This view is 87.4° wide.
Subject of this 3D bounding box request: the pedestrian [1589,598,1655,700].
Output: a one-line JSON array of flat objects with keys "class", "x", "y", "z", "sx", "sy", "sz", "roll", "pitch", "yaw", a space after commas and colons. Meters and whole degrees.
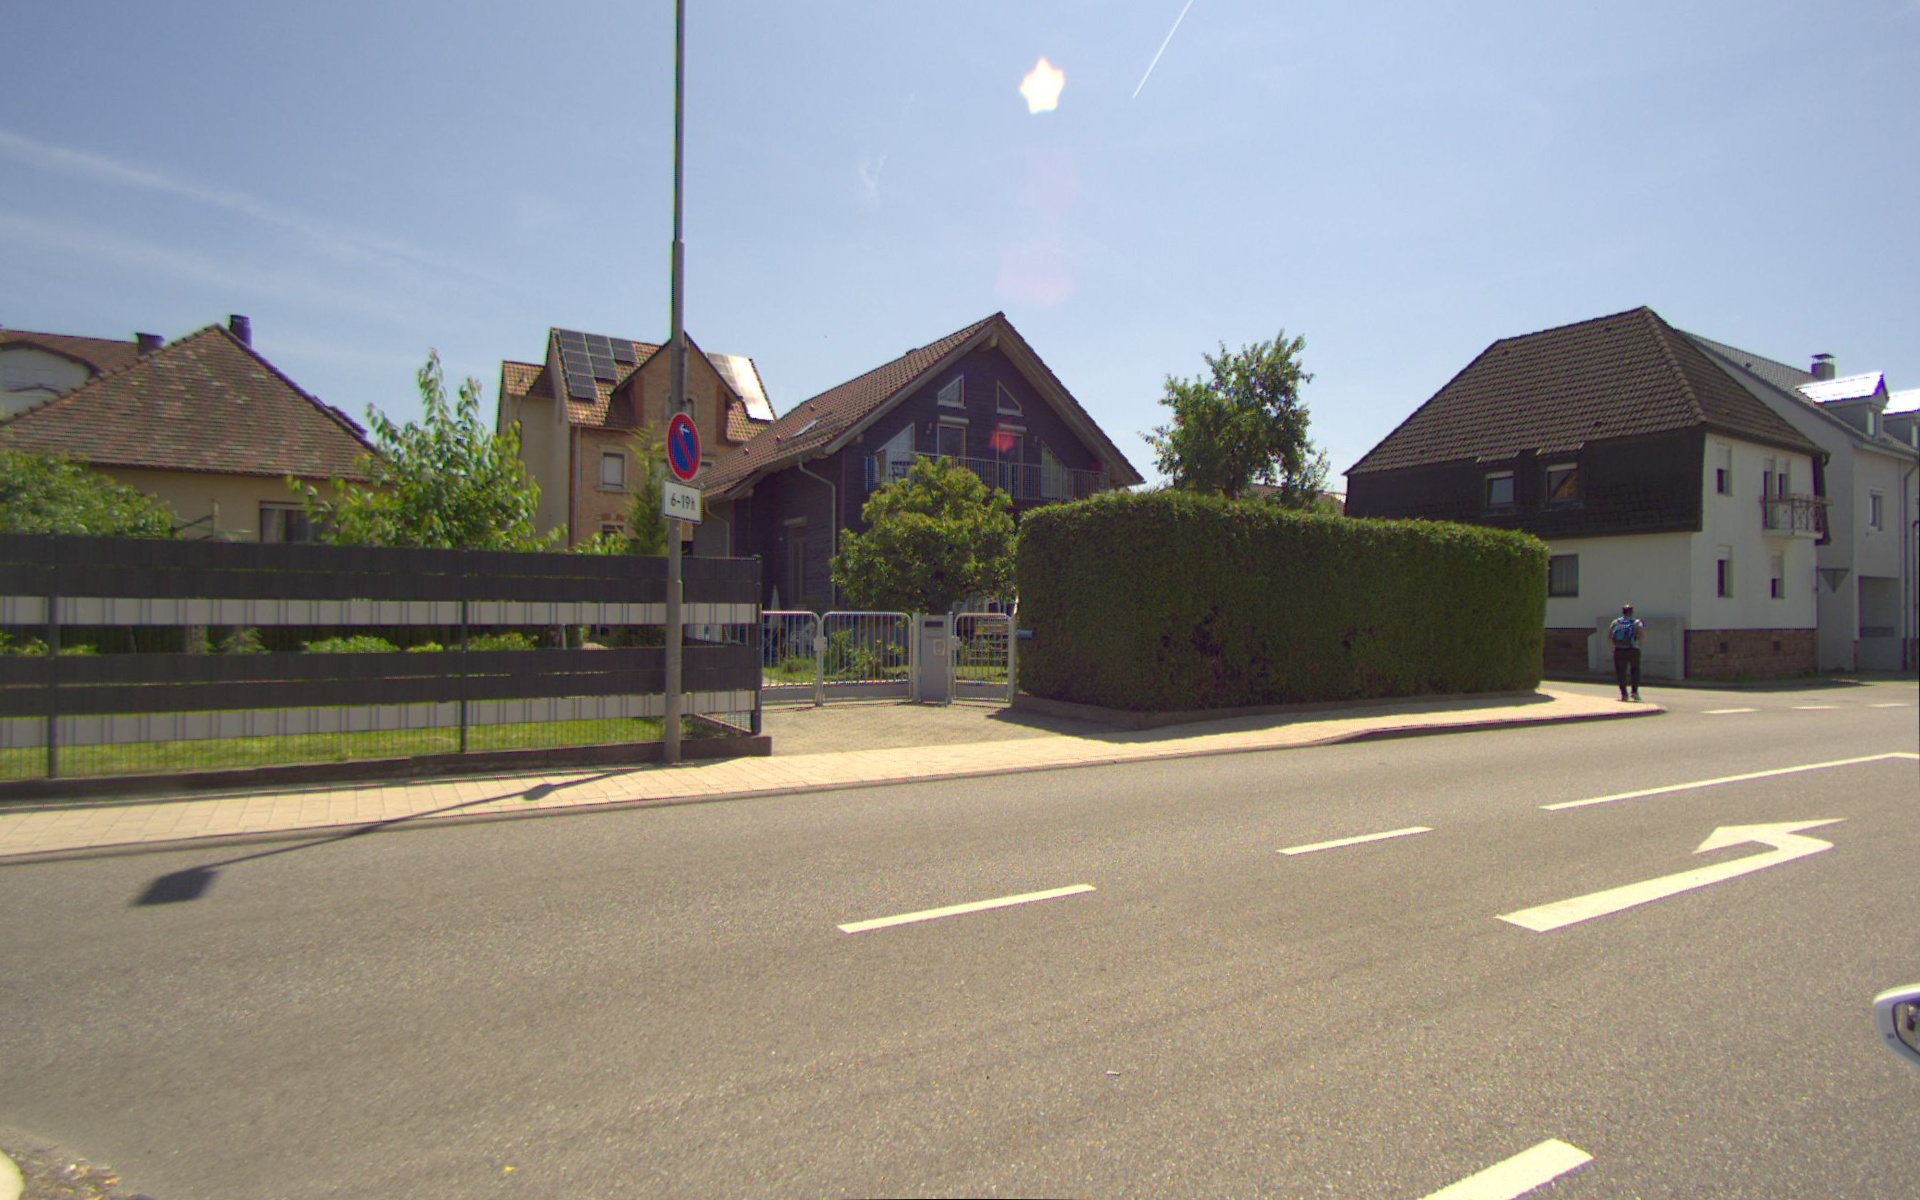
[{"class": "pedestrian", "x": 12.382, "y": 0.902, "z": 18.792, "sx": 0.890, "sy": 1.847, "sz": 0.707, "roll": 2, "pitch": 0, "yaw": -35}]
